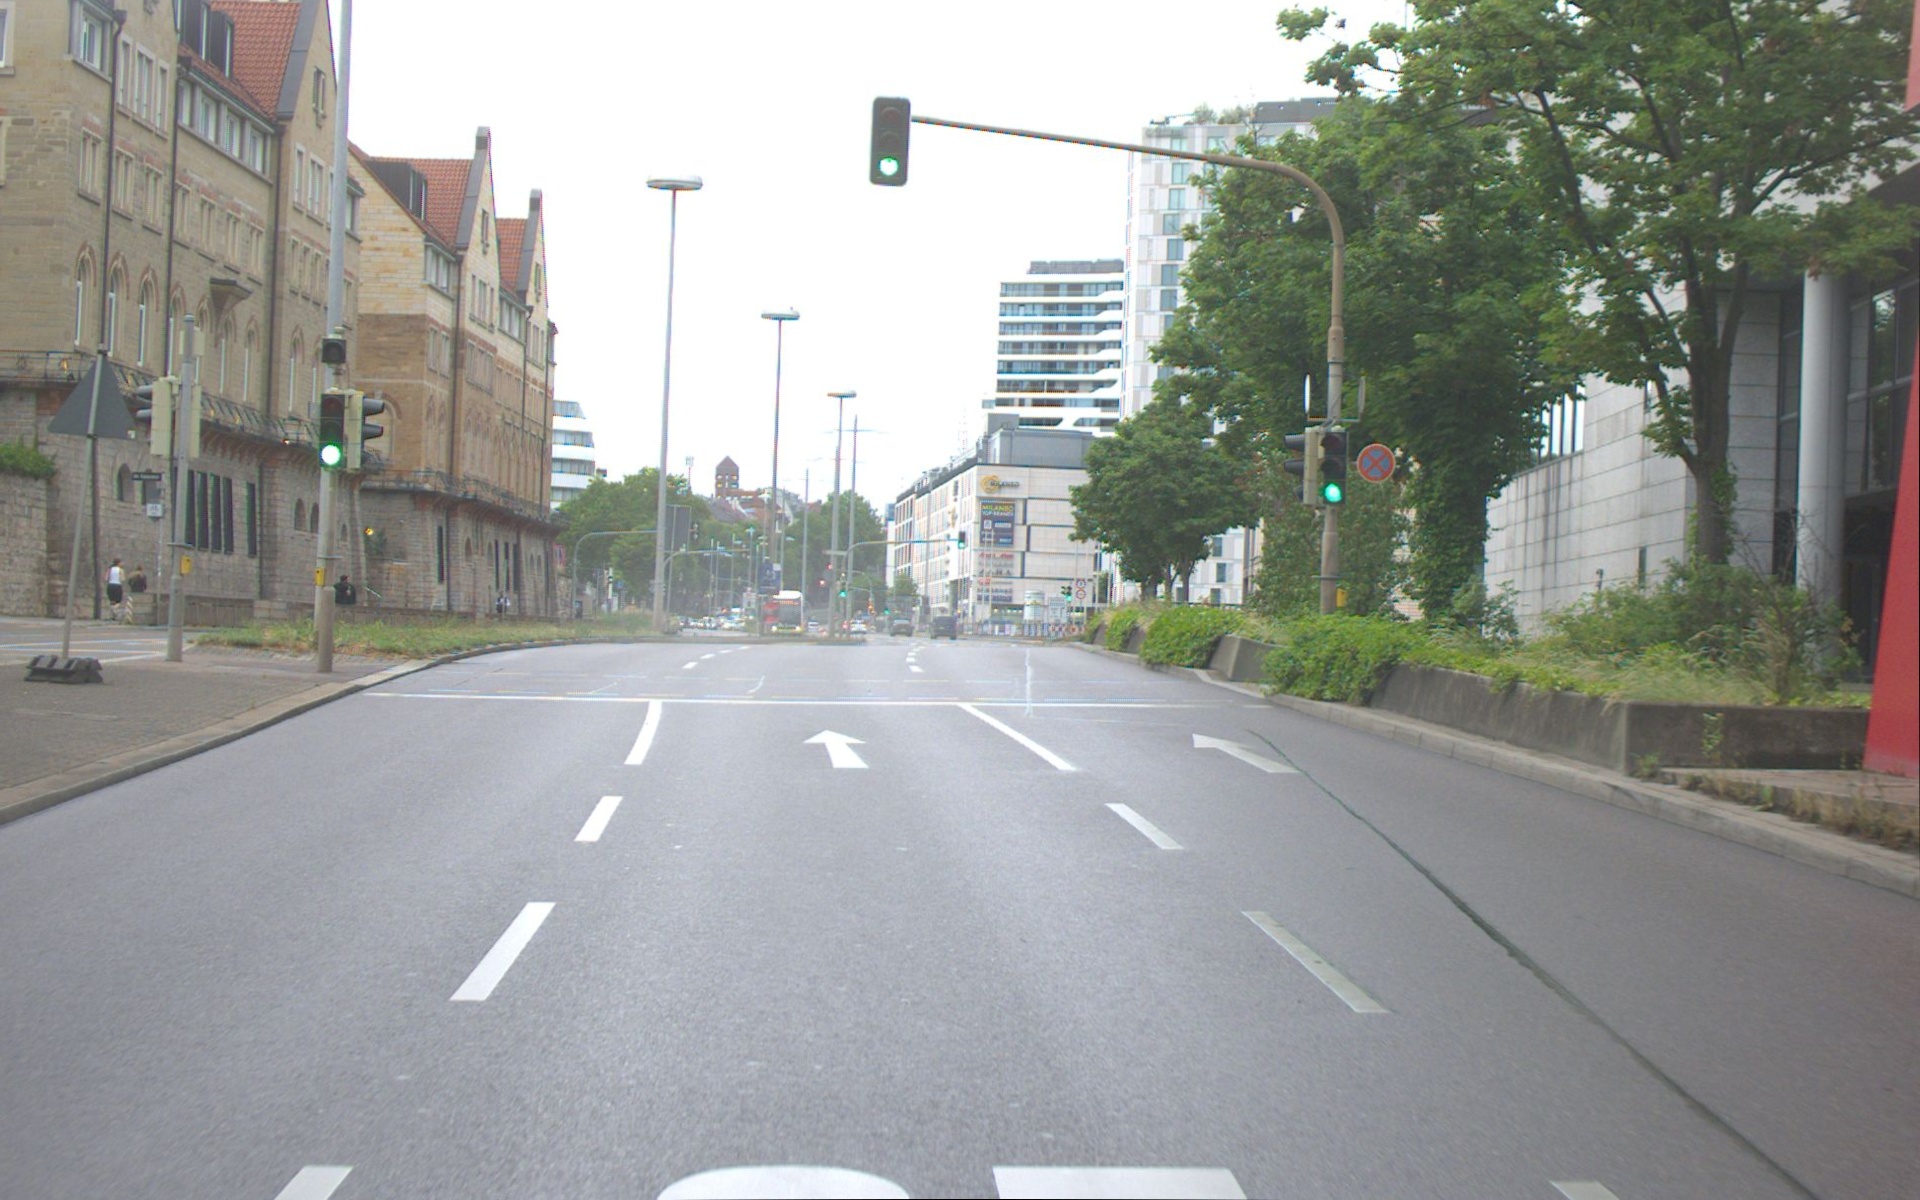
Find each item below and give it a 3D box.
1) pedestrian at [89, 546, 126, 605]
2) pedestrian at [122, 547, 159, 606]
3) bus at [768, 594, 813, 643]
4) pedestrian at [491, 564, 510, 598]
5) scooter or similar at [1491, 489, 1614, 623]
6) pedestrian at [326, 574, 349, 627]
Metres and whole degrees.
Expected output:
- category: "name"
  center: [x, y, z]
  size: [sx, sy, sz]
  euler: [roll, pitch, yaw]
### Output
- category: "pedestrian"
  center: [-21.707, -0.632, 87.561]
  size: [0.754, 1.473, 0.714]
  euler: [1, 1, 0]
- category: "pedestrian"
  center: [-20.869, -0.600, 87.574]
  size: [0.754, 1.473, 0.714]
  euler: [1, 1, 0]
- category: "bus"
  center: [-12.635, 1.414, 256.731]
  size: [2.698, 3.547, 10.093]
  euler: [1, 0, 0]
- category: "pedestrian"
  center: [-20.528, -0.855, 153.583]
  size: [0.754, 1.473, 0.714]
  euler: [1, 1, 0]
- category: "scooter or similar"
  center: [7.034, -0.530, 40.848]
  size: [1.323, 1.525, 0.502]
  euler: [3, 1, 3]
- category: "pedestrian"
  center: [-20.647, 0.019, 114.074]
  size: [0.640, 1.740, 0.621]
  euler: [1, 1, -1]
